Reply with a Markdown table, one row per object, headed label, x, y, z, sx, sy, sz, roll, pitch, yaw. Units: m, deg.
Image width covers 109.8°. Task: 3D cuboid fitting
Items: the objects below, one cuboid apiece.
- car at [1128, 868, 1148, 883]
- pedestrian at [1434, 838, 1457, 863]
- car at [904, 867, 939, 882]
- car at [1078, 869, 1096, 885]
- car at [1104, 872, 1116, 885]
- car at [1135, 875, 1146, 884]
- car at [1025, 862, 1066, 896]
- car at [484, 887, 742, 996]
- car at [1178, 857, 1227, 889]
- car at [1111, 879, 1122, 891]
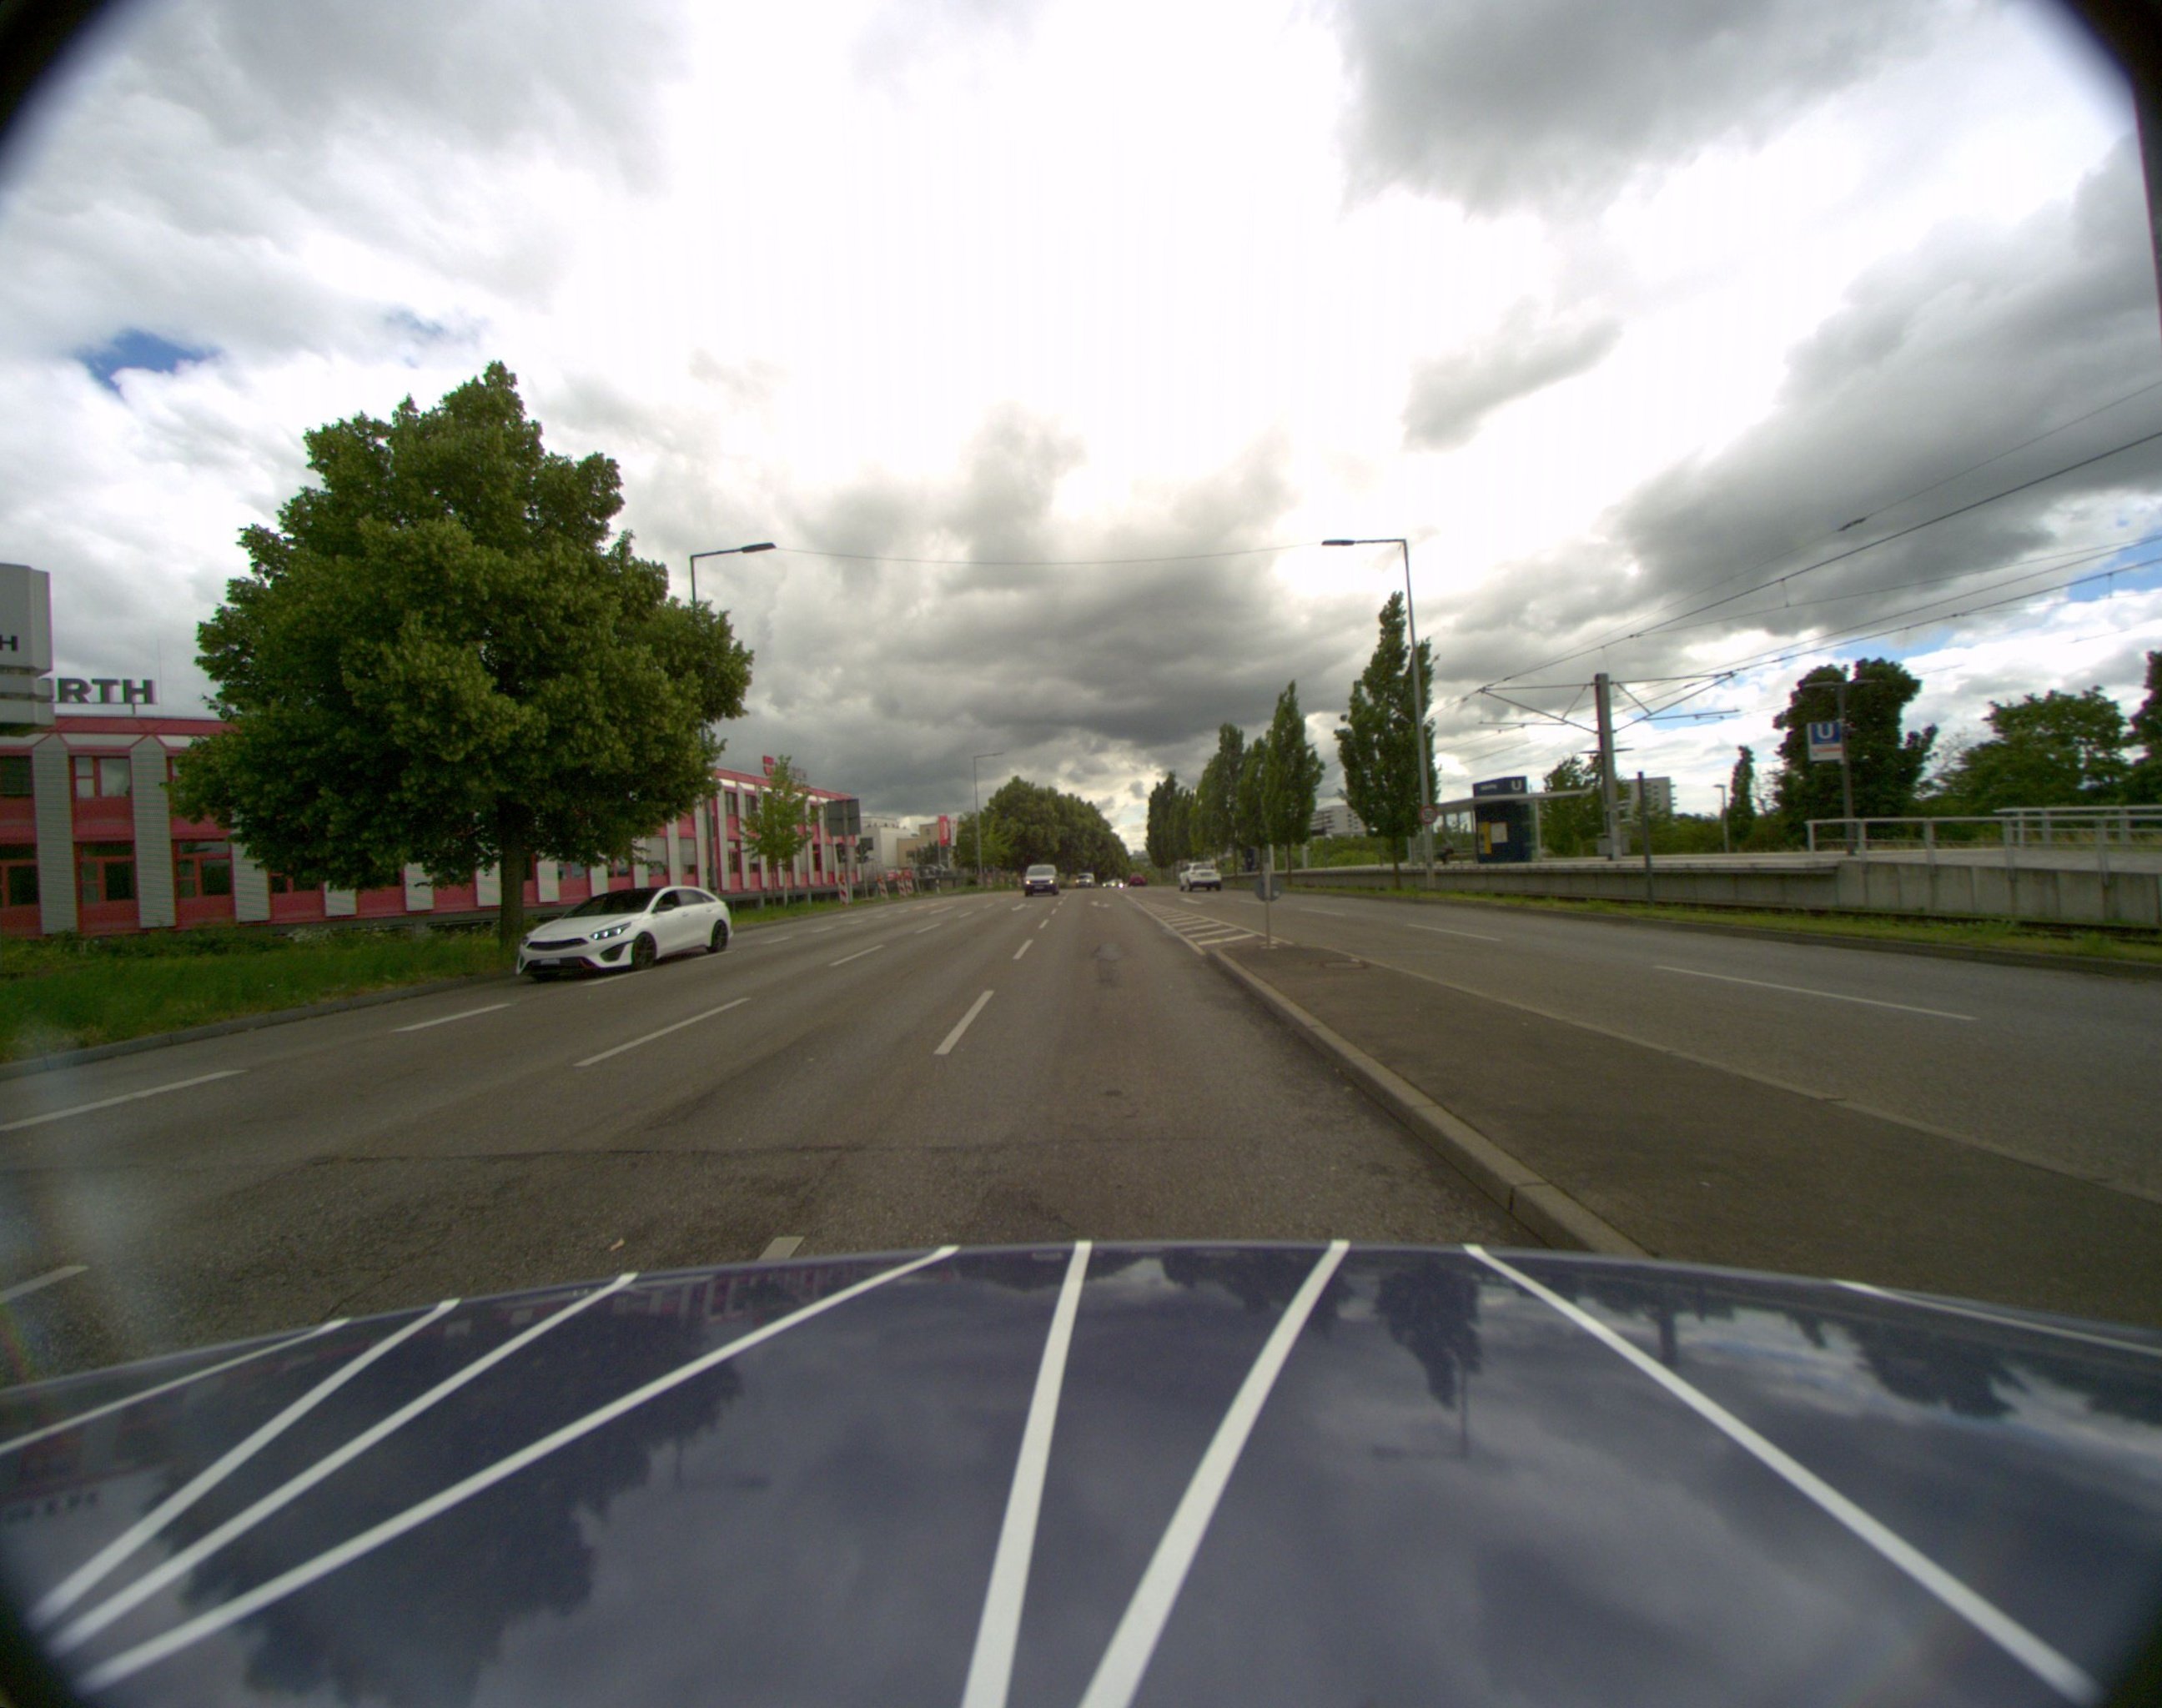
| label | x | y | z | sx | sy | sz | roll | pitch | yaw |
| --- | --- | --- | --- | --- | --- | --- | --- | --- | --- |
| car | 6.119 | 2.335 | 82.129 | 1.785 | 1.434 | 4.426 | -3 | -1 | 1 |
| pedestrian | 17.626 | -0.171 | 36.727 | 0.663 | 1.195 | 0.782 | -2 | 0 | -7 |
| car | -21.207 | 2.693 | 101.001 | 4.248 | 1.744 | 1.784 | -2 | 0 | 2 |
| car | 0.725 | 2.709 | 89.824 | 1.984 | 1.744 | 4.253 | -2 | 0 | 3 |
| car | 4.323 | 3.582 | 113.447 | 1.782 | 1.744 | 4.253 | -2 | 0 | 3 |
| car | 11.137 | 4.789 | 141.808 | 1.781 | 1.537 | 4.227 | -2 | 0 | 8 |
| car | -2.024 | 1.421 | 44.413 | 1.782 | 1.744 | 4.253 | -2 | 0 | 4 |
| car | -8.077 | 1.416 | 13.724 | 1.785 | 1.354 | 4.479 | -4 | 0 | 0 |
| car | 6.610 | 1.084 | 41.865 | 1.834 | 1.619 | 4.426 | -2 | -2 | -1 |
| car | 6.084 | 5.202 | 128.644 | 1.782 | 1.744 | 4.253 | -2 | 0 | 3 |
